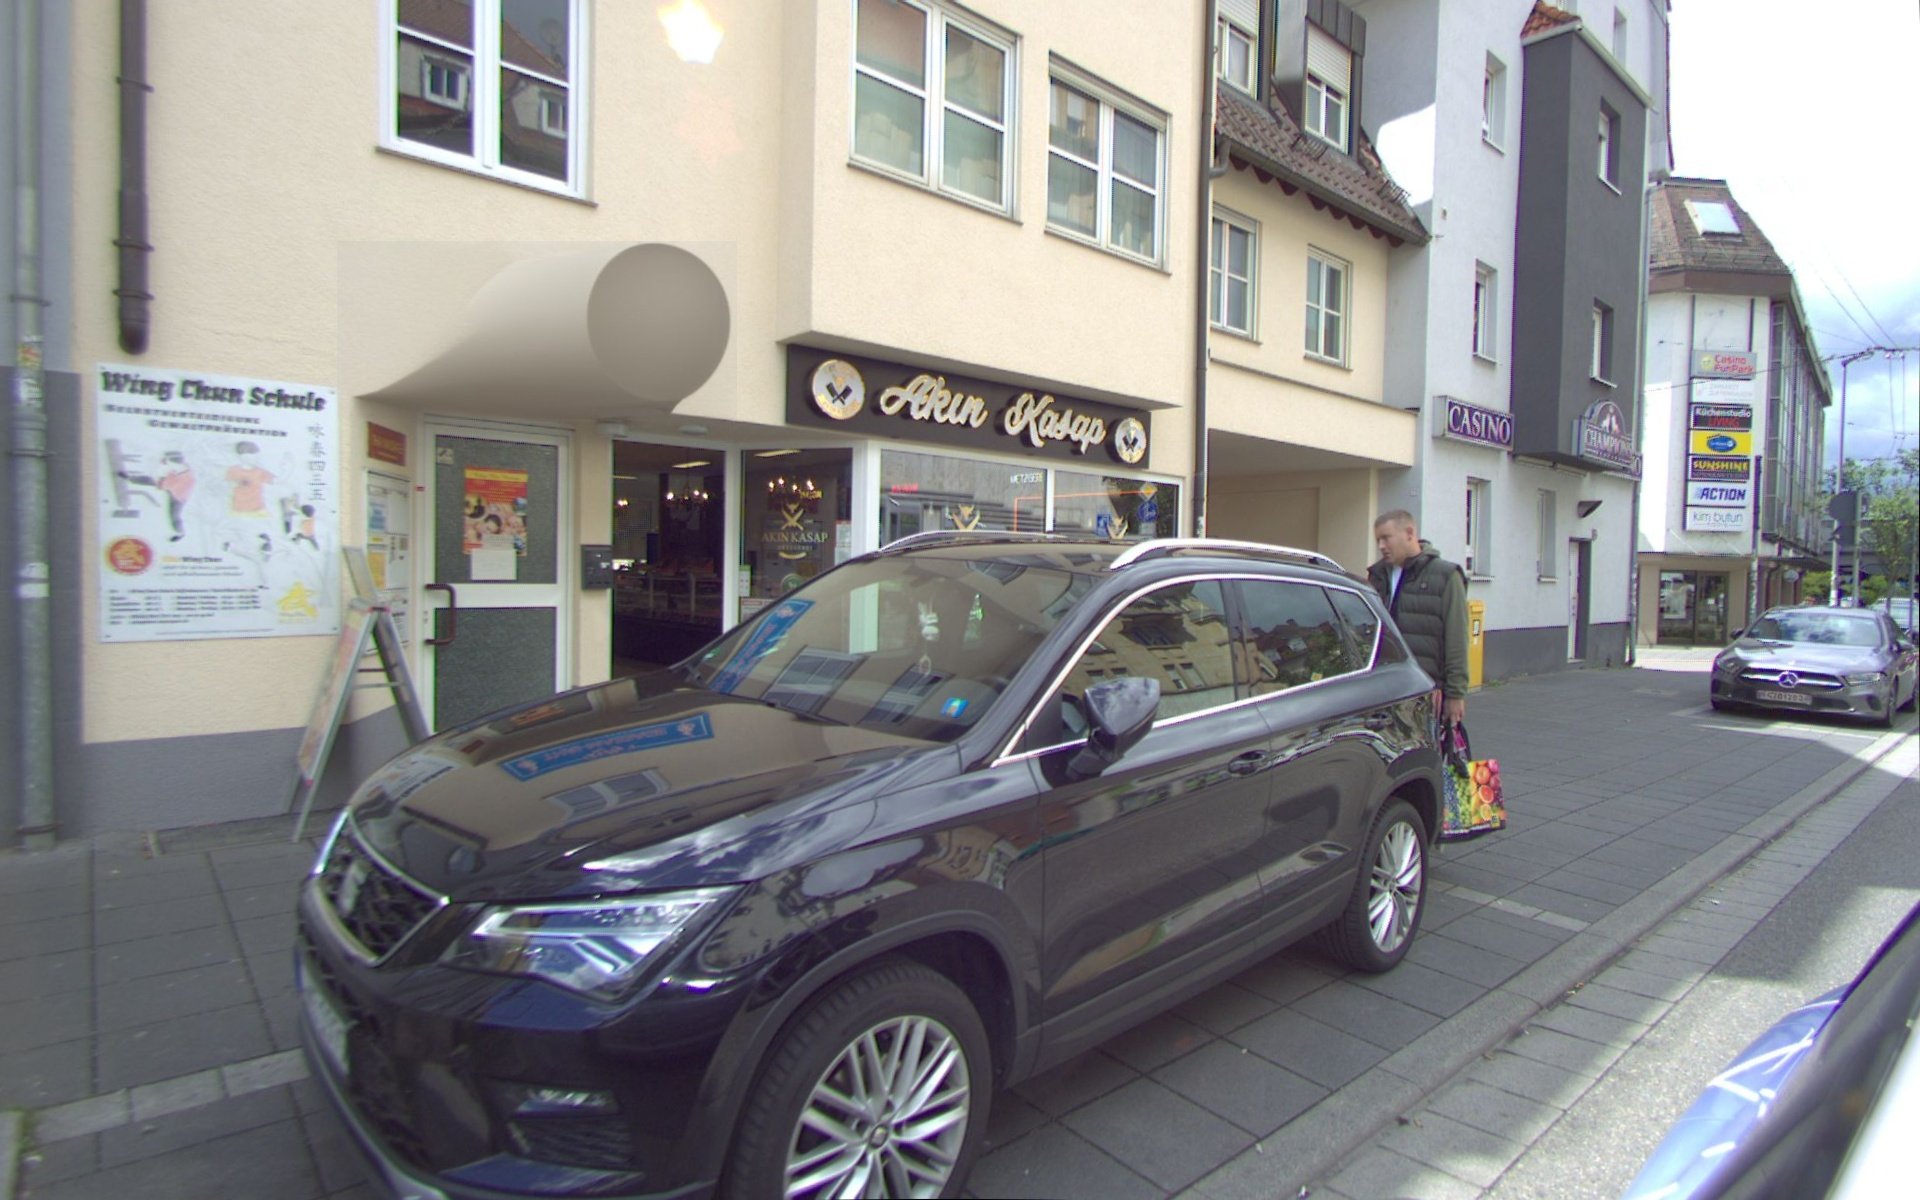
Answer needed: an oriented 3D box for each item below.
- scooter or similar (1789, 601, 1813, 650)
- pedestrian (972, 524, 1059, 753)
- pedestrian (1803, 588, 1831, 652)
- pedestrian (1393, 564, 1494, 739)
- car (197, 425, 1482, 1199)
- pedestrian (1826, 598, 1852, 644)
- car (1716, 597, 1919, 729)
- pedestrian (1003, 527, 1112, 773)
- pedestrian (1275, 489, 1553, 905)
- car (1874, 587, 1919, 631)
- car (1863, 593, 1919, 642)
[{"bbox_3d":[23.170,0.696,27.887,0.430,1.296,1.230,0,0,43],"label":"scooter or similar"},{"bbox_3d":[0.441,0.290,8.029,0.528,1.739,0.436,-1,0,-44],"label":"pedestrian"},{"bbox_3d":[23.530,0.528,27.773,0.570,1.724,0.474,0,0,42],"label":"pedestrian"},{"bbox_3d":[5.045,0.499,10.570,0.645,1.739,0.744,-1,2,-42],"label":"pedestrian"},{"bbox_3d":[0.097,0.518,3.474,1.801,1.623,4.136,4,3,45],"label":"car"},{"bbox_3d":[30.430,0.725,35.031,0.469,1.582,0.660,-1,0,-44],"label":"pedestrian"},{"bbox_3d":[11.748,0.709,13.479,4.241,1.438,1.711,-1,1,-39],"label":"car"},{"bbox_3d":[0.727,0.347,7.535,0.596,1.739,0.536,-1,0,-43],"label":"pedestrian"},{"bbox_3d":[2.323,0.409,5.211,0.850,1.886,0.977,-1,4,-42],"label":"pedestrian"},{"bbox_3d":[39.971,0.359,42.540,4.390,1.681,1.824,0,3,-42],"label":"car"},{"bbox_3d":[30.532,0.522,32.719,4.477,1.472,1.716,0,1,-45],"label":"car"}]
